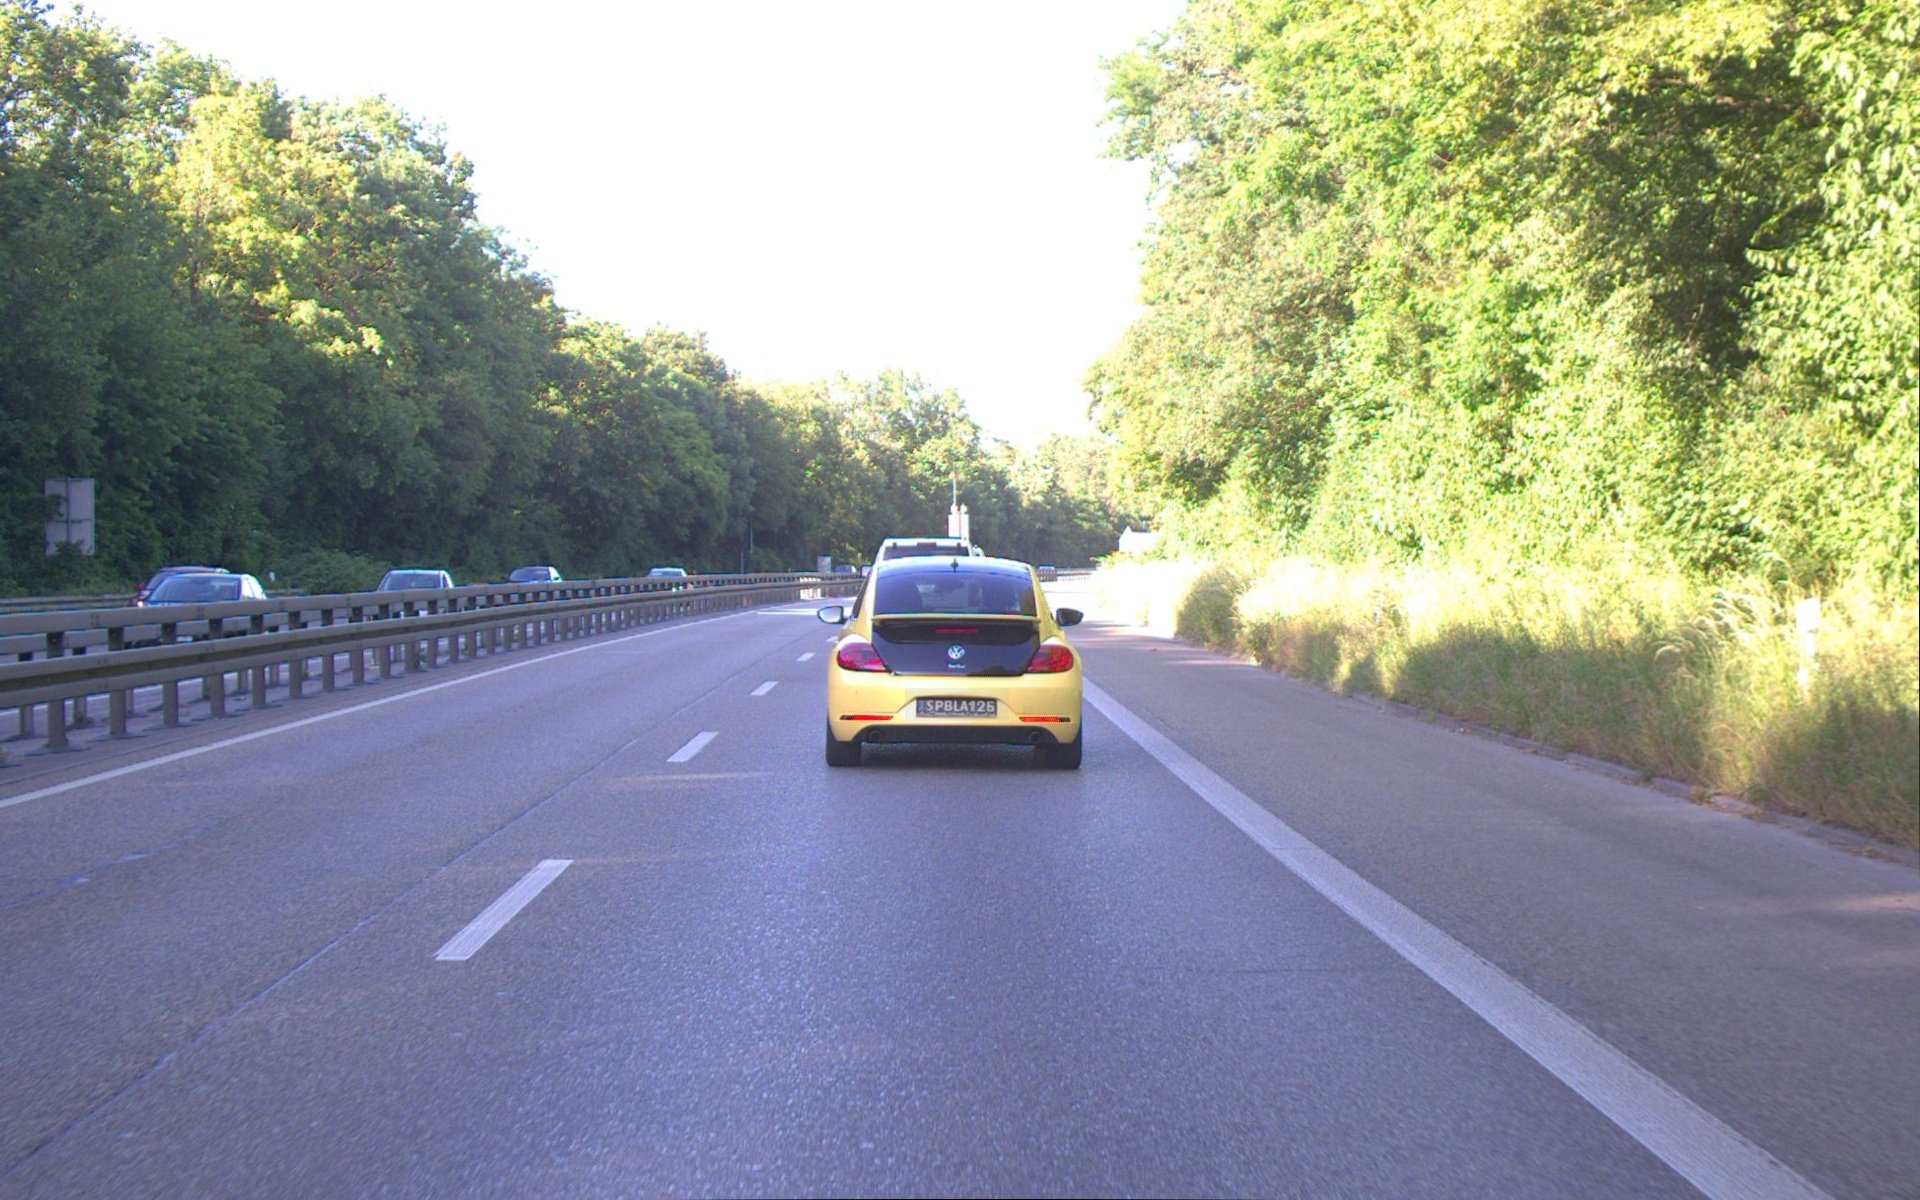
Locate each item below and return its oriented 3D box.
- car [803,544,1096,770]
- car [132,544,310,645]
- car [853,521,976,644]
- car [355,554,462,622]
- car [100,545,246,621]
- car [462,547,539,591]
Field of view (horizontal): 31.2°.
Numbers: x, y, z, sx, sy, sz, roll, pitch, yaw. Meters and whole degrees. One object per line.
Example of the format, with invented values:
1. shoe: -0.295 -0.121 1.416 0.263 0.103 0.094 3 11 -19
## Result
1. car: -0.003 0.358 24.784 1.939 1.503 3.422 0 1 3
2. car: -11.546 -0.110 53.950 1.724 1.463 4.096 -2 1 2
3. car: -0.673 -0.289 53.407 1.741 1.823 3.422 1 1 2
4. car: -12.135 -0.251 75.886 1.724 1.368 4.096 -2 -1 -1
5. car: -16.199 -0.364 70.970 1.993 1.459 4.000 -2 1 1
6. car: -16.499 -1.125 123.704 1.993 1.459 4.902 -2 1 1
